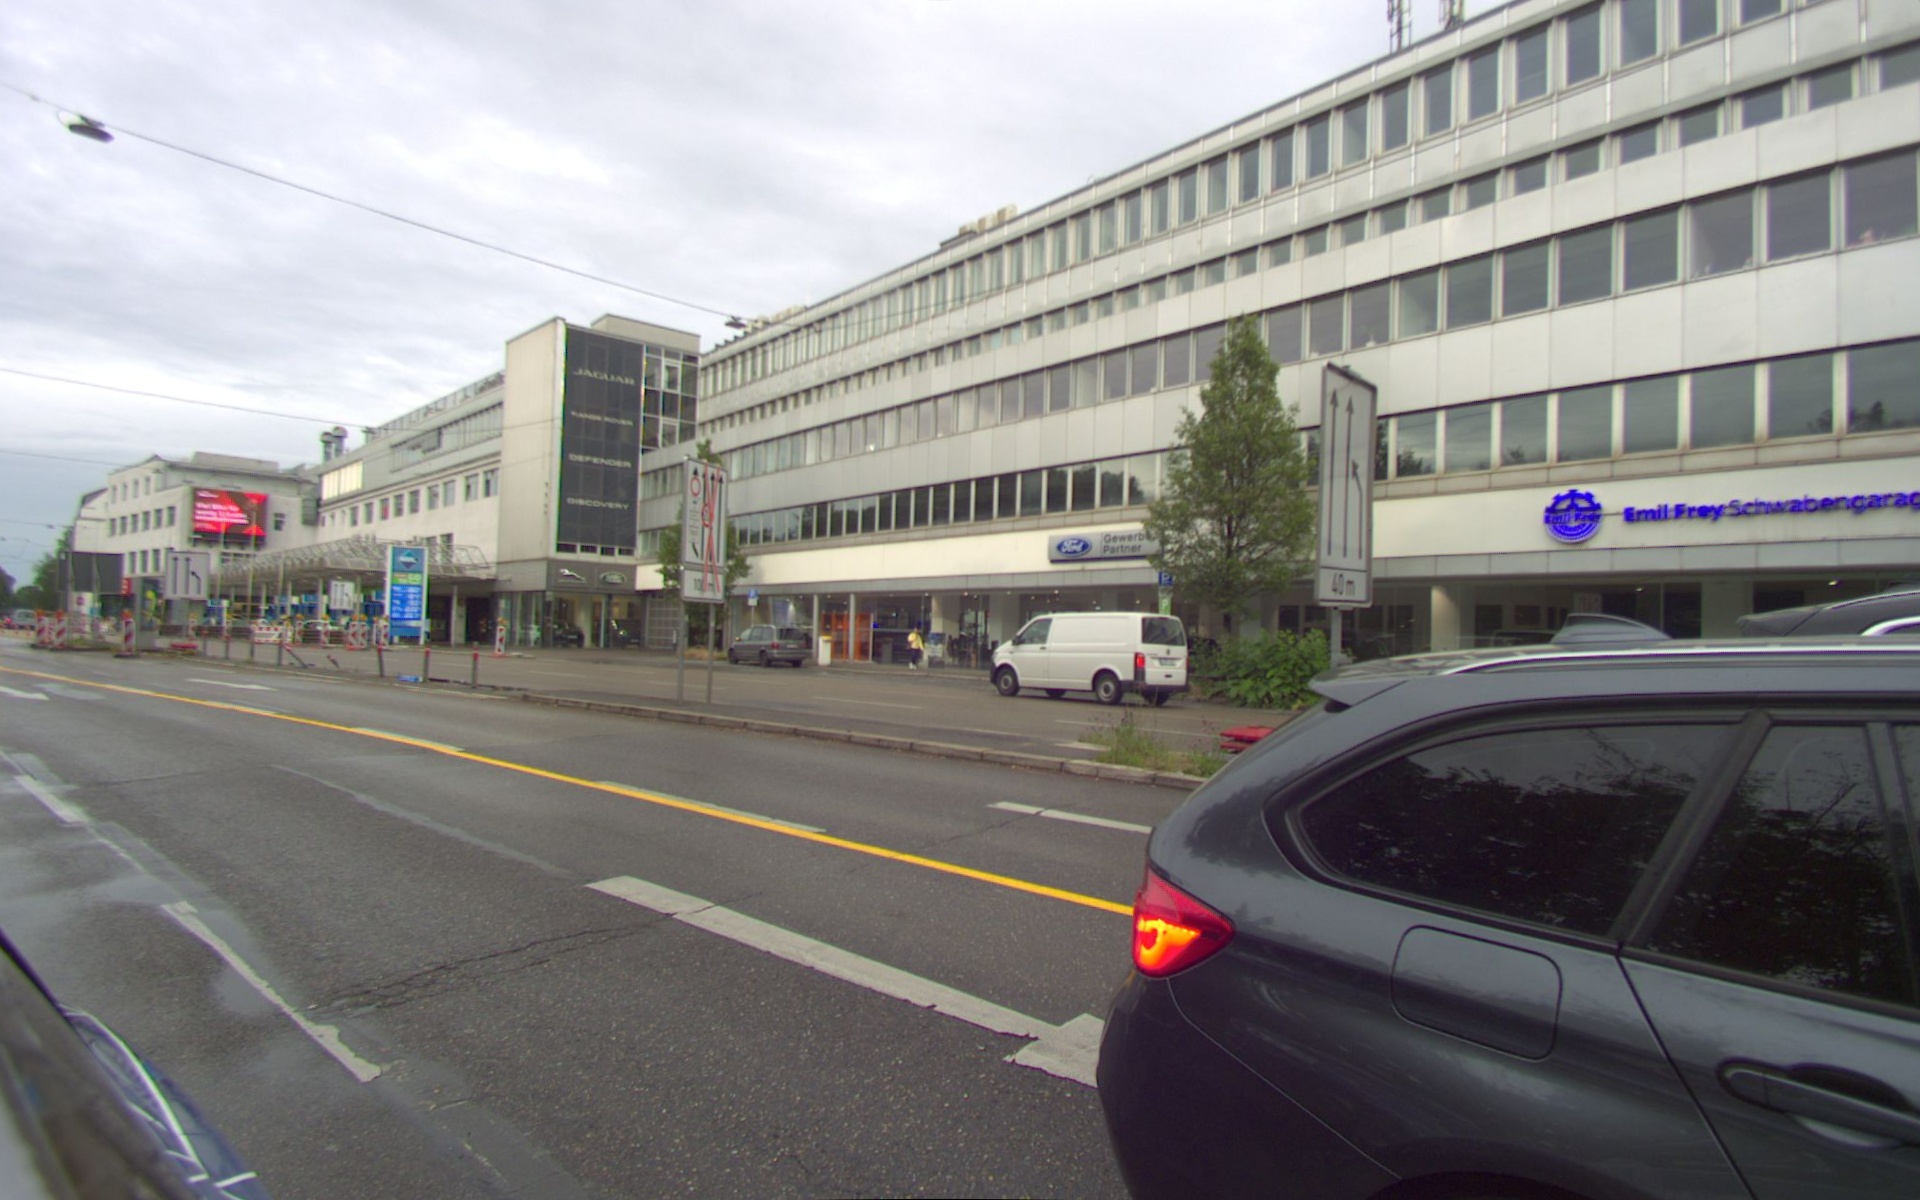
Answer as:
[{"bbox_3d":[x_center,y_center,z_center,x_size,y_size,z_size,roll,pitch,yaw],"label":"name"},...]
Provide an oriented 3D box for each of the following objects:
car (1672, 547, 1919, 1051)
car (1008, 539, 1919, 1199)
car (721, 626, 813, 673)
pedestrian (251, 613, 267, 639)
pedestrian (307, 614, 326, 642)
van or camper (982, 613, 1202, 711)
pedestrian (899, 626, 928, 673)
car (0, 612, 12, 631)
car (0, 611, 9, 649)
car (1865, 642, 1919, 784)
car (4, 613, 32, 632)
[{"bbox_3d":[4.905,0.636,2.925,4.445,1.668,1.789,-1,0,44],"label":"car"},{"bbox_3d":[2.334,0.689,1.085,4.476,1.469,1.757,-1,-3,42],"label":"car"},{"bbox_3d":[-8.273,2.067,43.124,1.895,1.829,4.169,-1,0,-44],"label":"car"},{"bbox_3d":[-50.353,1.849,72.703,0.881,1.828,0.943,-1,0,-35],"label":"pedestrian"},{"bbox_3d":[-42.419,1.850,66.745,0.882,1.828,0.942,-1,0,-45],"label":"pedestrian"},{"bbox_3d":[2.804,1.284,22.387,1.912,1.938,4.689,3,-3,-42],"label":"van or camper"},{"bbox_3d":[-1.822,1.923,39.694,0.750,1.788,0.865,-1,0,-42],"label":"pedestrian"},{"bbox_3d":[-95.811,2.150,100.805,3.727,1.777,1.775,-1,0,42],"label":"car"},{"bbox_3d":[-43.251,1.311,44.533,3.948,1.629,1.747,-1,0,43],"label":"car"},{"bbox_3d":[12.203,1.279,10.756,3.762,1.544,1.782,-2,-7,41],"label":"car"},{"bbox_3d":[-86.229,2.055,92.595,3.378,1.657,1.587,-1,0,42],"label":"car"}]
